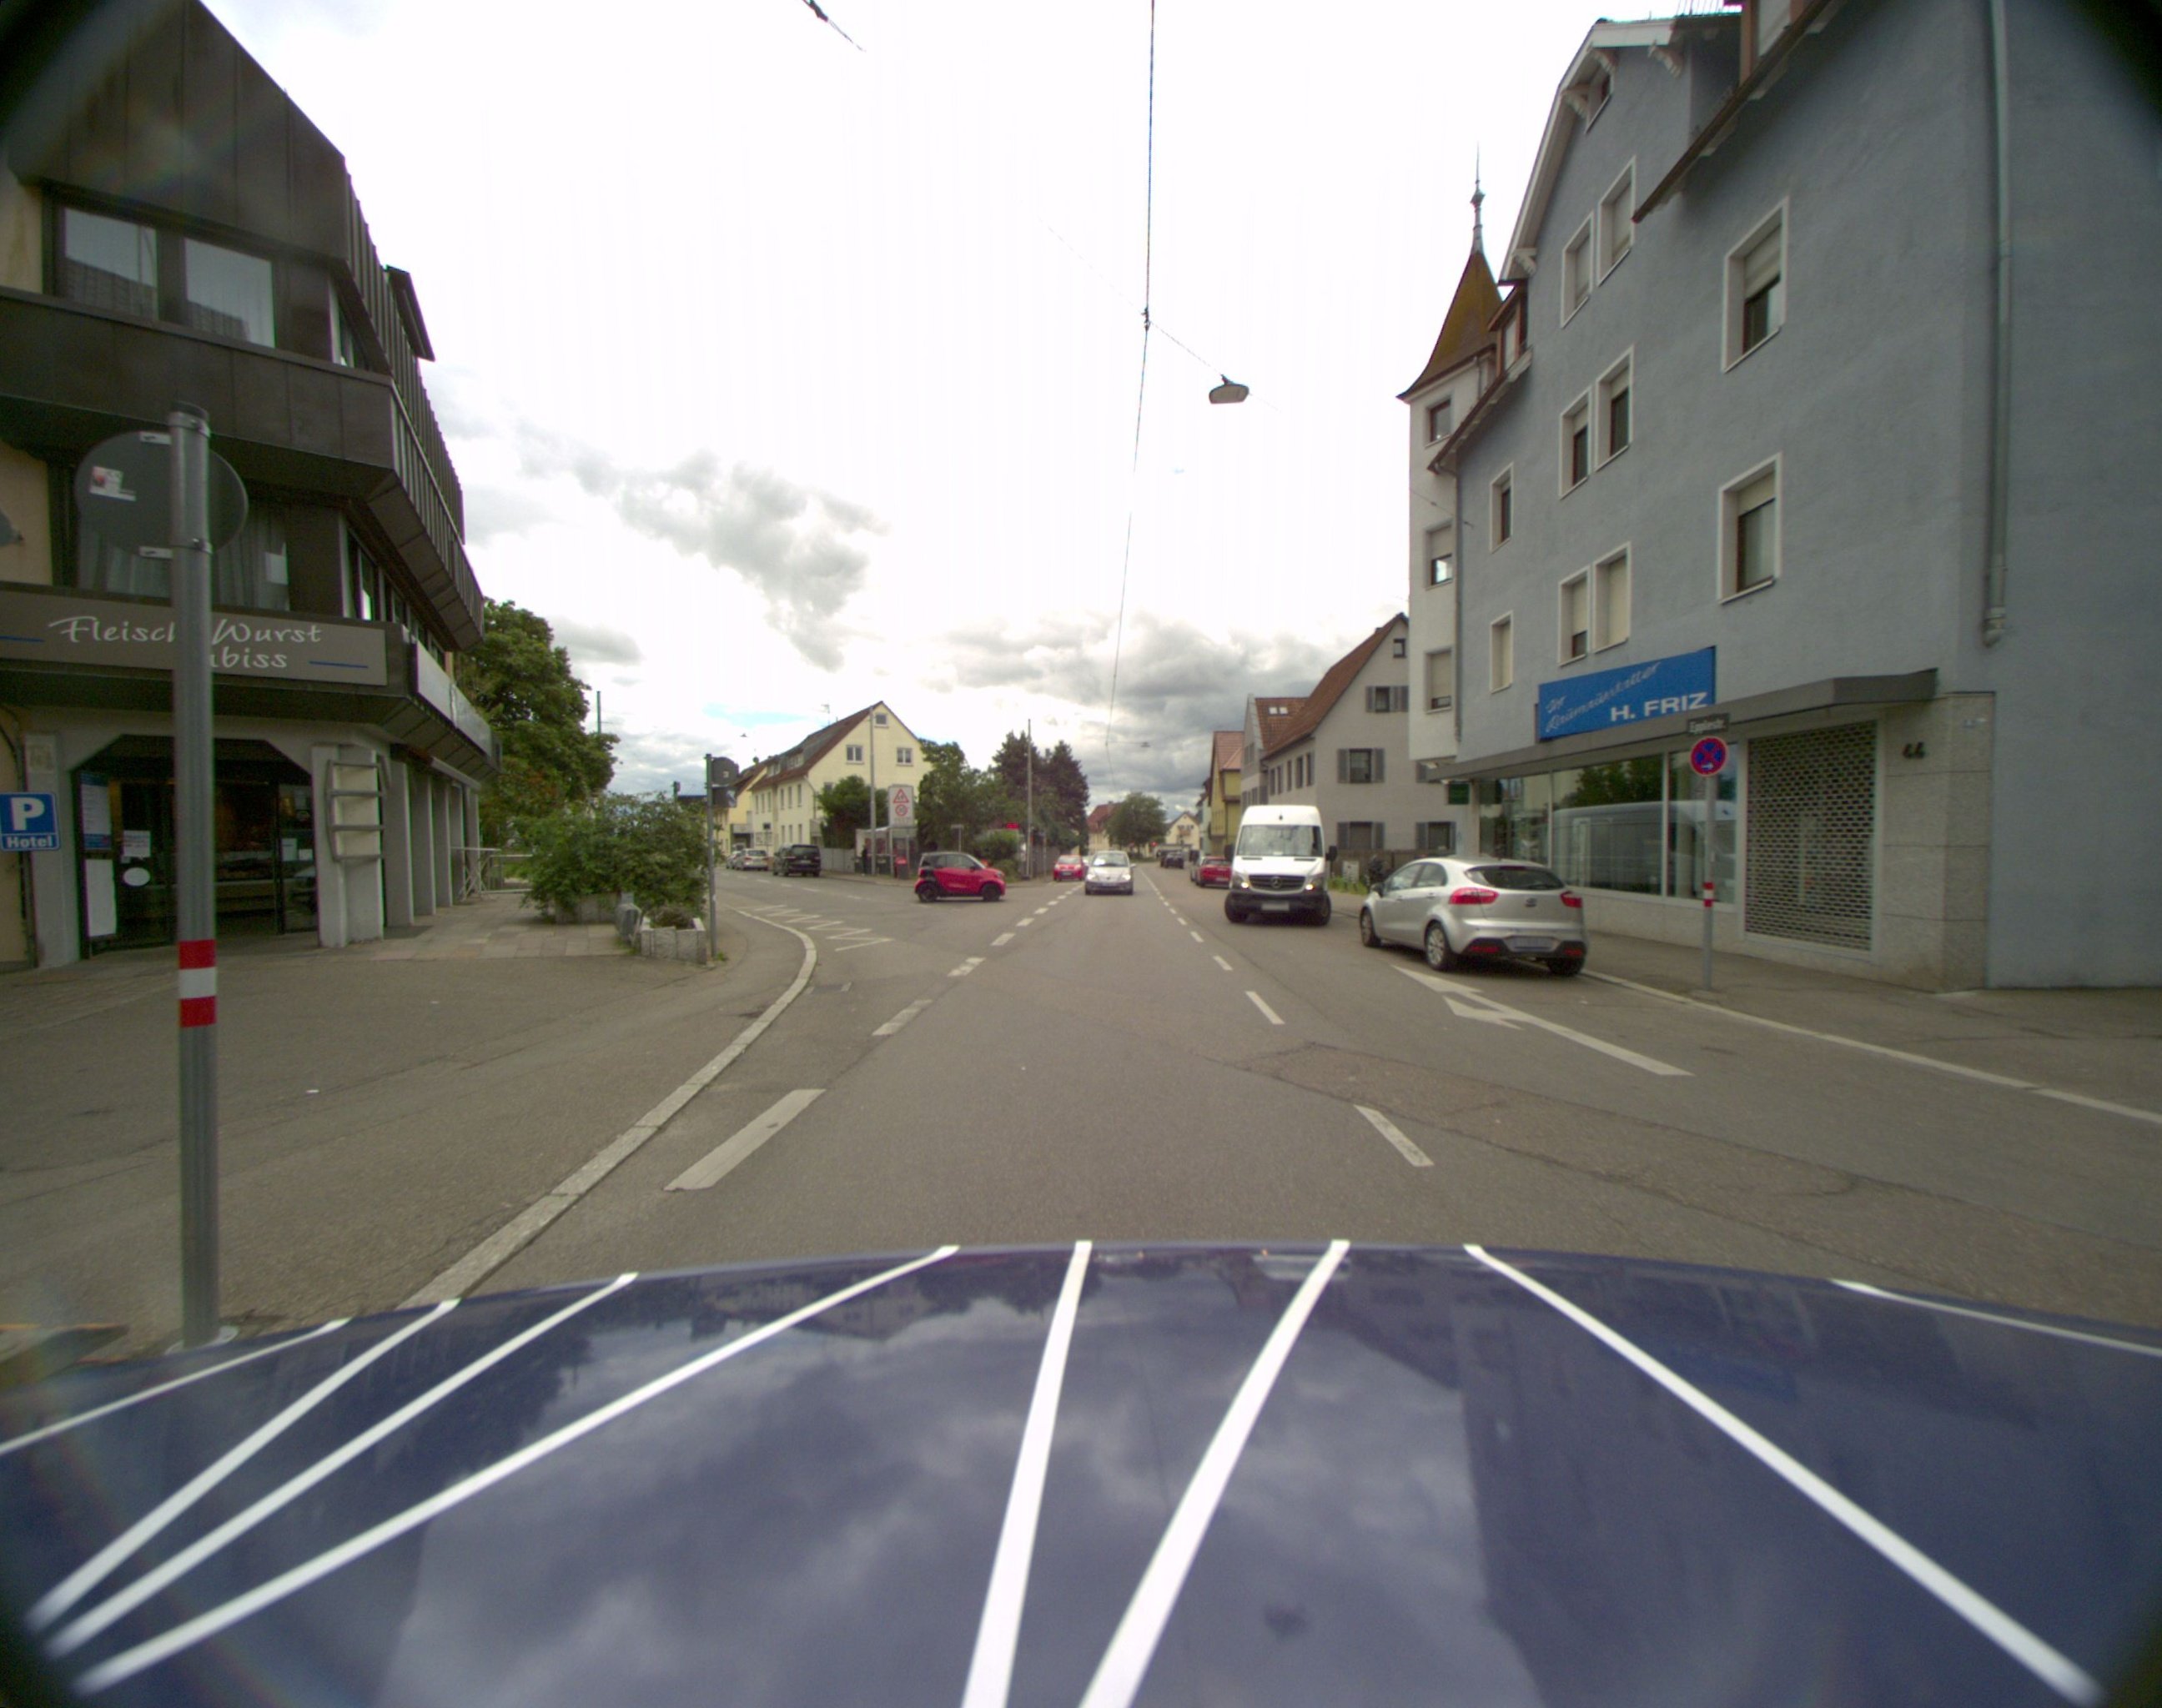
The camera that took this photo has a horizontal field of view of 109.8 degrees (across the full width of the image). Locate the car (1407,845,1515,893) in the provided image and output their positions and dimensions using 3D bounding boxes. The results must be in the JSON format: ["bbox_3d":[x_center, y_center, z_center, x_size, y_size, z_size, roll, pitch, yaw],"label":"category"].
[{"bbox_3d":[13.665,0.493,27.654,1.998,1.543,4.417,-2,0,5],"label":"car"}]

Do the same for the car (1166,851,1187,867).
[{"bbox_3d":[9.500,0.443,75.888,1.717,1.559,4.353,0,0,3],"label":"car"}]

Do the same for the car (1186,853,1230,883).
[{"bbox_3d":[6.864,0.716,41.359,1.781,1.465,4.353,2,0,2],"label":"car"}]

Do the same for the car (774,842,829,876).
[{"bbox_3d":[-16.162,0.269,43.823,2.004,1.866,4.381,0,1,-34],"label":"car"}]

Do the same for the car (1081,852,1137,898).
[{"bbox_3d":[1.065,0.695,27.766,1.857,1.548,4.353,0,0,3],"label":"car"}]

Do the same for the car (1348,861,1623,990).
[{"bbox_3d":[5.288,0.833,10.627,1.802,1.403,4.000,0,0,2],"label":"car"}]

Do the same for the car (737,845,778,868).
[{"bbox_3d":[-23.787,0.161,55.829,2.004,1.663,4.381,0,1,-34],"label":"car"}]

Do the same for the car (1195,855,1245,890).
[{"bbox_3d":[6.416,0.818,35.510,1.863,1.465,4.354,2,0,5],"label":"car"}]

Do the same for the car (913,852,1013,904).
[{"bbox_3d":[-3.644,0.712,23.690,2.939,1.511,1.819,0,1,-7],"label":"car"}]

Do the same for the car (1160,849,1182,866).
[{"bbox_3d":[9.739,0.366,82.669,2.111,1.838,4.353,0,0,3],"label":"car"}]

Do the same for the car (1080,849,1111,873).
[{"bbox_3d":[1.065,0.468,52.952,1.818,1.472,4.001,-4,0,5],"label":"car"}]

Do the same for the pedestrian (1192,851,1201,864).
[{"bbox_3d":[11.819,0.380,77.643,0.832,1.368,0.551,0,1,5],"label":"pedestrian"}]

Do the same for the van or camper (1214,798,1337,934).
[{"bbox_3d":[4.680,0.215,17.764,2.322,2.592,6.215,0,0,17],"label":"van or camper"}]

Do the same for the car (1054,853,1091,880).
[{"bbox_3d":[-0.427,0.668,43.655,1.718,1.472,4.001,0,0,5],"label":"car"}]
